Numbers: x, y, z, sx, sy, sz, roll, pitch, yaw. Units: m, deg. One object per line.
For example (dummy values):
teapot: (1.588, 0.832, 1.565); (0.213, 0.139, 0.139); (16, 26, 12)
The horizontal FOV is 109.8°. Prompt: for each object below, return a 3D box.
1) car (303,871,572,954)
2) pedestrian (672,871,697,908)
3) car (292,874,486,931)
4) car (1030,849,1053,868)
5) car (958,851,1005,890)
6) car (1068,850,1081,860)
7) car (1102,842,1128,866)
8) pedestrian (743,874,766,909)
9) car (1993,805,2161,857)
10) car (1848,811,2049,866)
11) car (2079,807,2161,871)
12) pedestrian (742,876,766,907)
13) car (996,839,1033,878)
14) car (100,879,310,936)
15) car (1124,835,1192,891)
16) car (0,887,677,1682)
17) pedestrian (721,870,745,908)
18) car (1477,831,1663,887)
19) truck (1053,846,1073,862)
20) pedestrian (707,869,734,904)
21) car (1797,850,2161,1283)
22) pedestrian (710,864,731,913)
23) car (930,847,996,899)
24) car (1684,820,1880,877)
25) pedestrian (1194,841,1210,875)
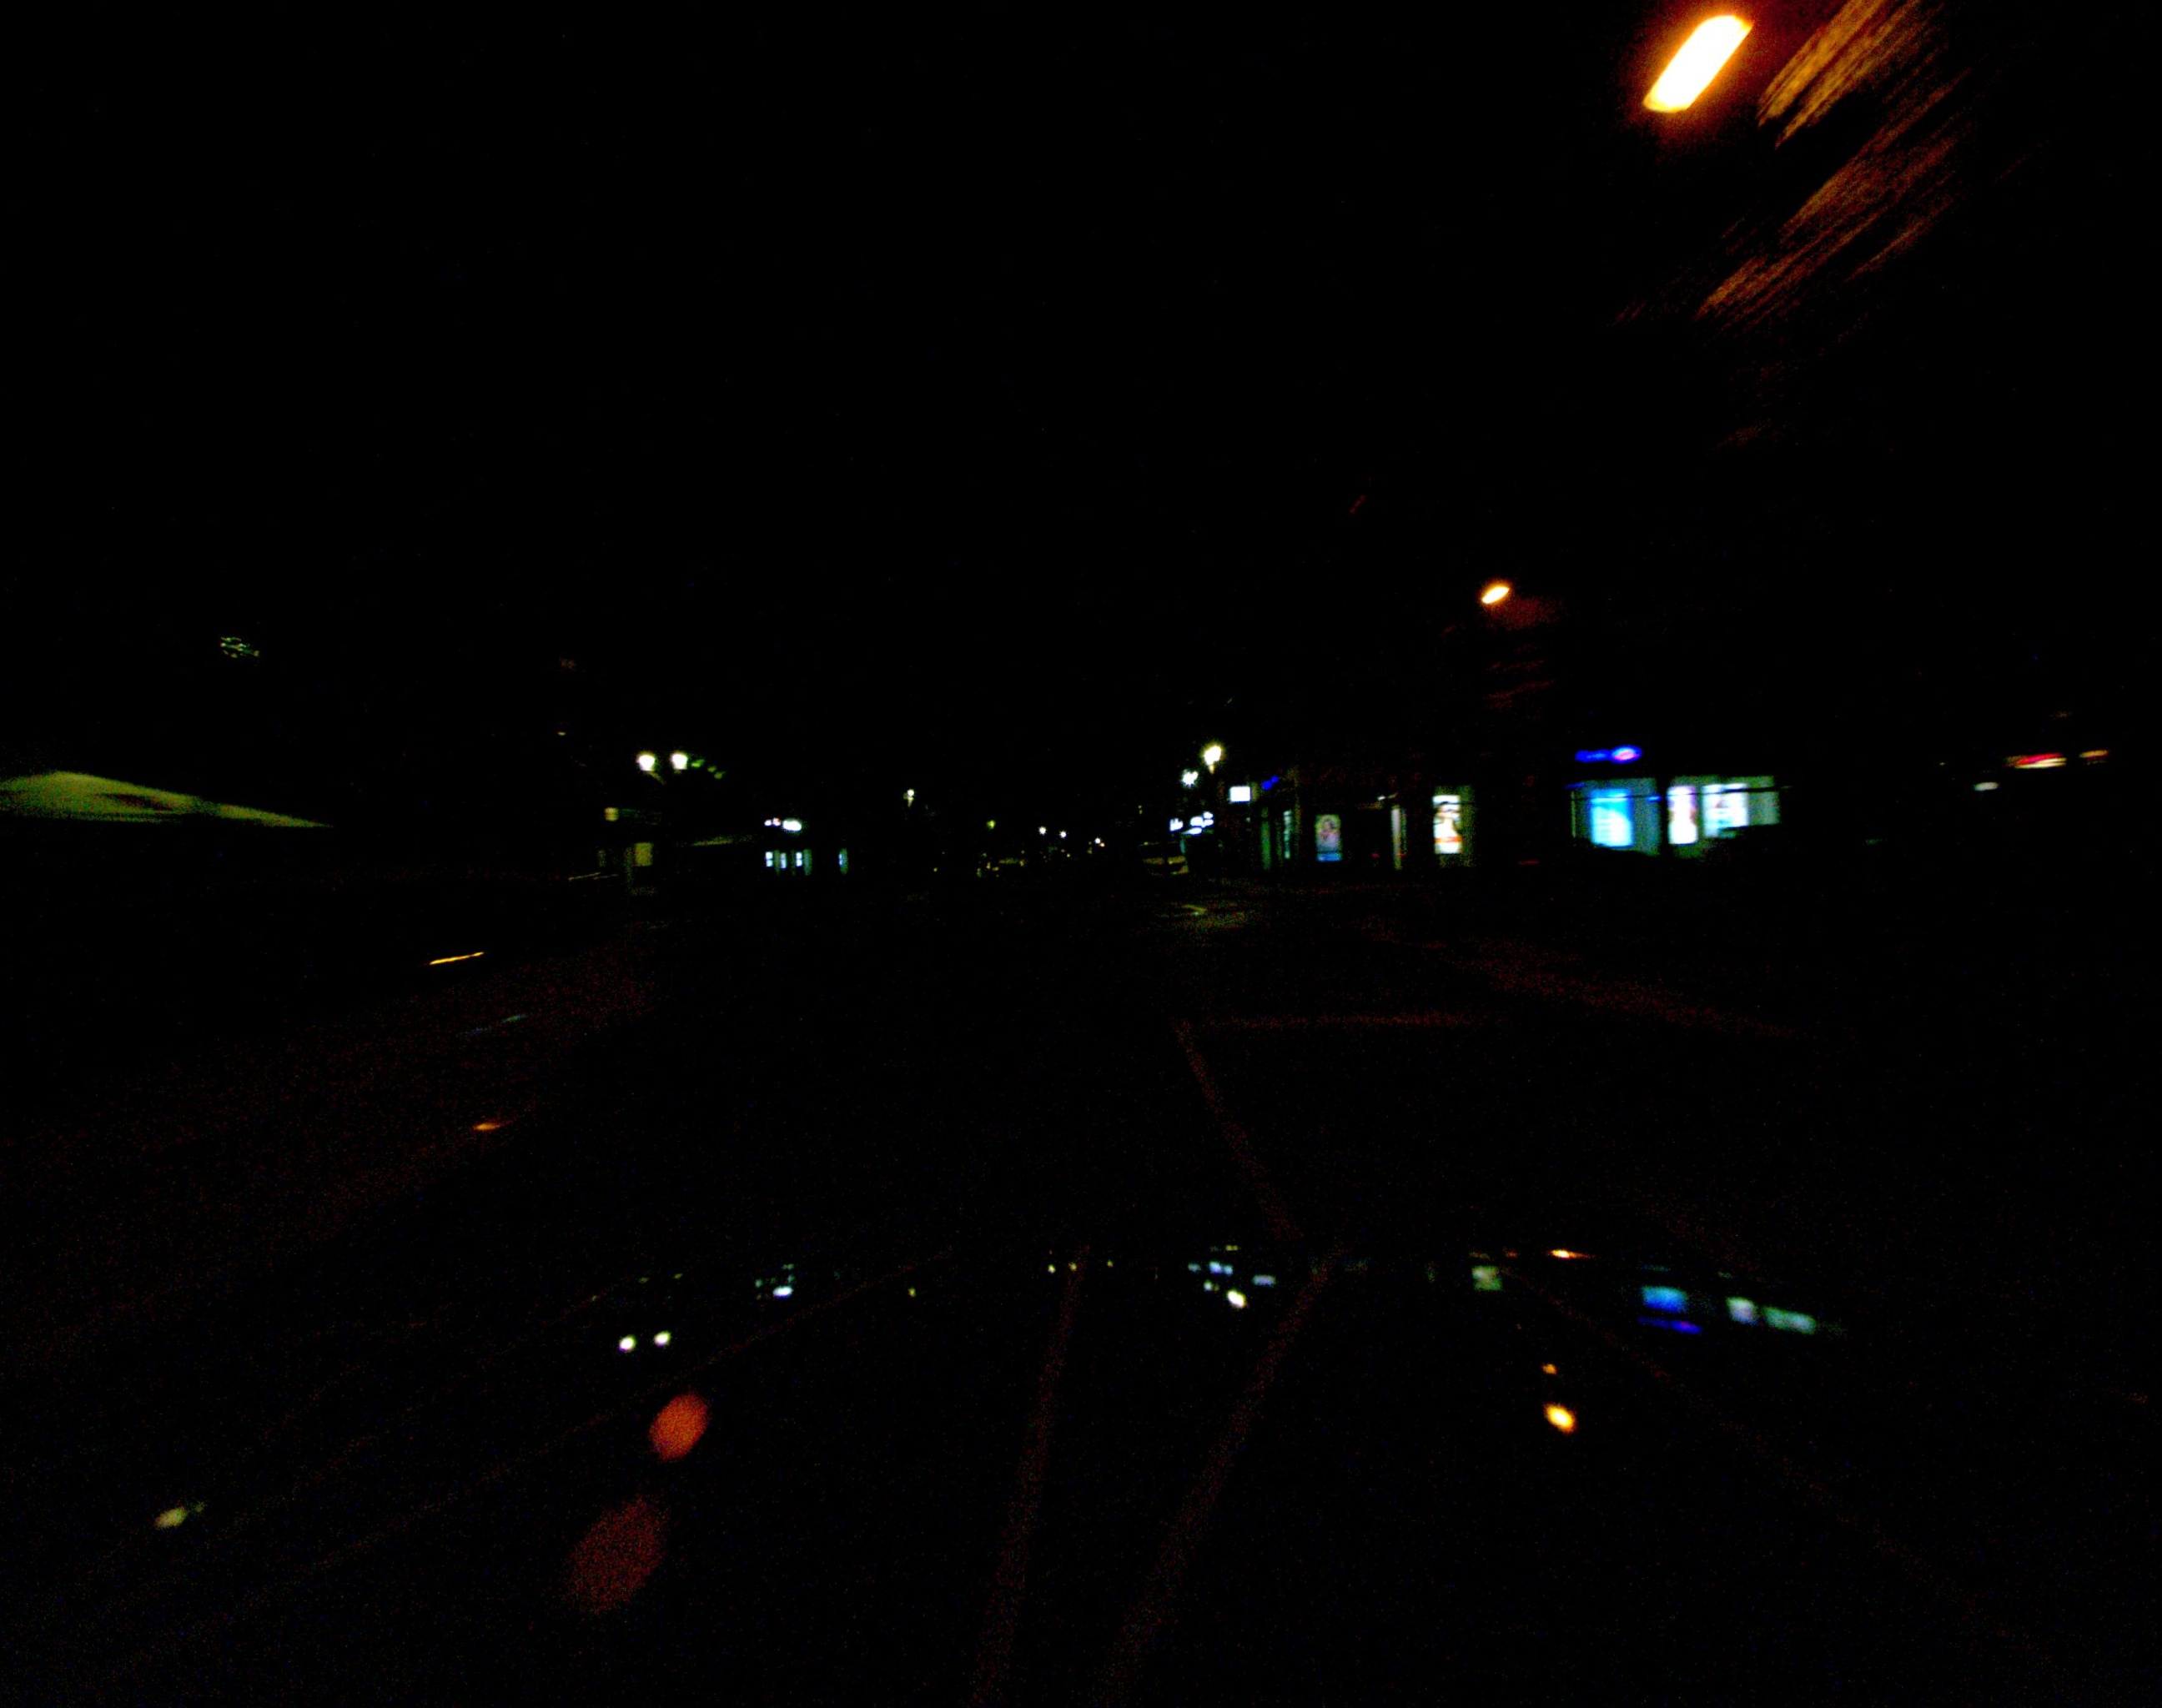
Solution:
car: (-14.058, 1.241, 16.795); (4.326, 1.523, 1.803); (-2, 2, 0)
pedestrian: (-13.916, 1.255, 26.675); (0.501, 1.256, 0.530); (-2, 1, 29)
car: (-20.573, 1.426, 22.714); (4.153, 1.540, 1.804); (-1, -1, 0)
car: (-3.858, 0.413, 74.544); (1.912, 1.792, 4.936); (-2, 0, 0)
car: (-4.611, 0.722, 35.857); (1.688, 1.649, 4.296); (-2, 0, -1)
car: (-1.078, 0.194, 124.781); (1.737, 1.493, 4.001); (-2, 0, 6)
car: (2.975, 0.006, 67.709); (1.930, 1.954, 5.076); (-4, 0, 0)
pedestrian: (-11.063, 1.256, 25.740); (0.389, 1.161, 0.519); (-1, 1, 36)
car: (30.281, -0.695, 22.691); (3.908, 1.387, 1.803); (-3, 0, 0)
car: (25.763, -0.452, 22.671); (3.908, 1.387, 1.803); (-3, 0, 0)
car: (24.931, -0.386, 16.975); (3.098, 1.376, 1.659); (-2, 1, 0)
pedestrian: (-11.447, 1.306, 26.613); (0.528, 1.047, 0.503); (-2, 1, 31)
car: (-4.191, 0.252, 48.349); (2.140, 2.313, 5.150); (-2, 0, -3)
car: (-25.979, 1.552, 22.633); (4.153, 1.540, 1.804); (-1, -1, 0)
car: (3.195, 0.352, 32.418); (1.858, 2.075, 5.088); (-4, 0, -5)
car: (-3.123, 0.955, 2.009); (1.774, 1.528, 4.216); (0, 0, 1)
pedestrian: (-11.994, 1.210, 26.203); (0.528, 1.256, 0.503); (-2, 1, 31)
car: (14.420, 0.145, 22.565); (4.339, 1.389, 1.803); (-3, 0, 0)
truck: (-2.503, -0.047, 109.923); (2.109, 2.230, 6.289); (-2, 0, 5)
pedestrian: (-13.123, 1.175, 27.644); (0.682, 1.256, 0.530); (-2, 1, 29)
car: (4.686, 0.764, 1.540); (1.811, 1.416, 4.921); (-4, 0, 1)
pedestrian: (-11.827, 1.120, 24.905); (0.480, 1.578, 0.372); (-1, 1, 36)
car: (-4.500, 0.666, 29.598); (1.793, 1.811, 4.579); (-2, 0, 0)
car: (20.759, -0.158, 22.621); (4.146, 1.428, 1.803); (-3, 0, 0)
pedestrian: (6.573, 0.213, 41.419); (0.719, 1.795, 0.716); (-2, 1, 1)
